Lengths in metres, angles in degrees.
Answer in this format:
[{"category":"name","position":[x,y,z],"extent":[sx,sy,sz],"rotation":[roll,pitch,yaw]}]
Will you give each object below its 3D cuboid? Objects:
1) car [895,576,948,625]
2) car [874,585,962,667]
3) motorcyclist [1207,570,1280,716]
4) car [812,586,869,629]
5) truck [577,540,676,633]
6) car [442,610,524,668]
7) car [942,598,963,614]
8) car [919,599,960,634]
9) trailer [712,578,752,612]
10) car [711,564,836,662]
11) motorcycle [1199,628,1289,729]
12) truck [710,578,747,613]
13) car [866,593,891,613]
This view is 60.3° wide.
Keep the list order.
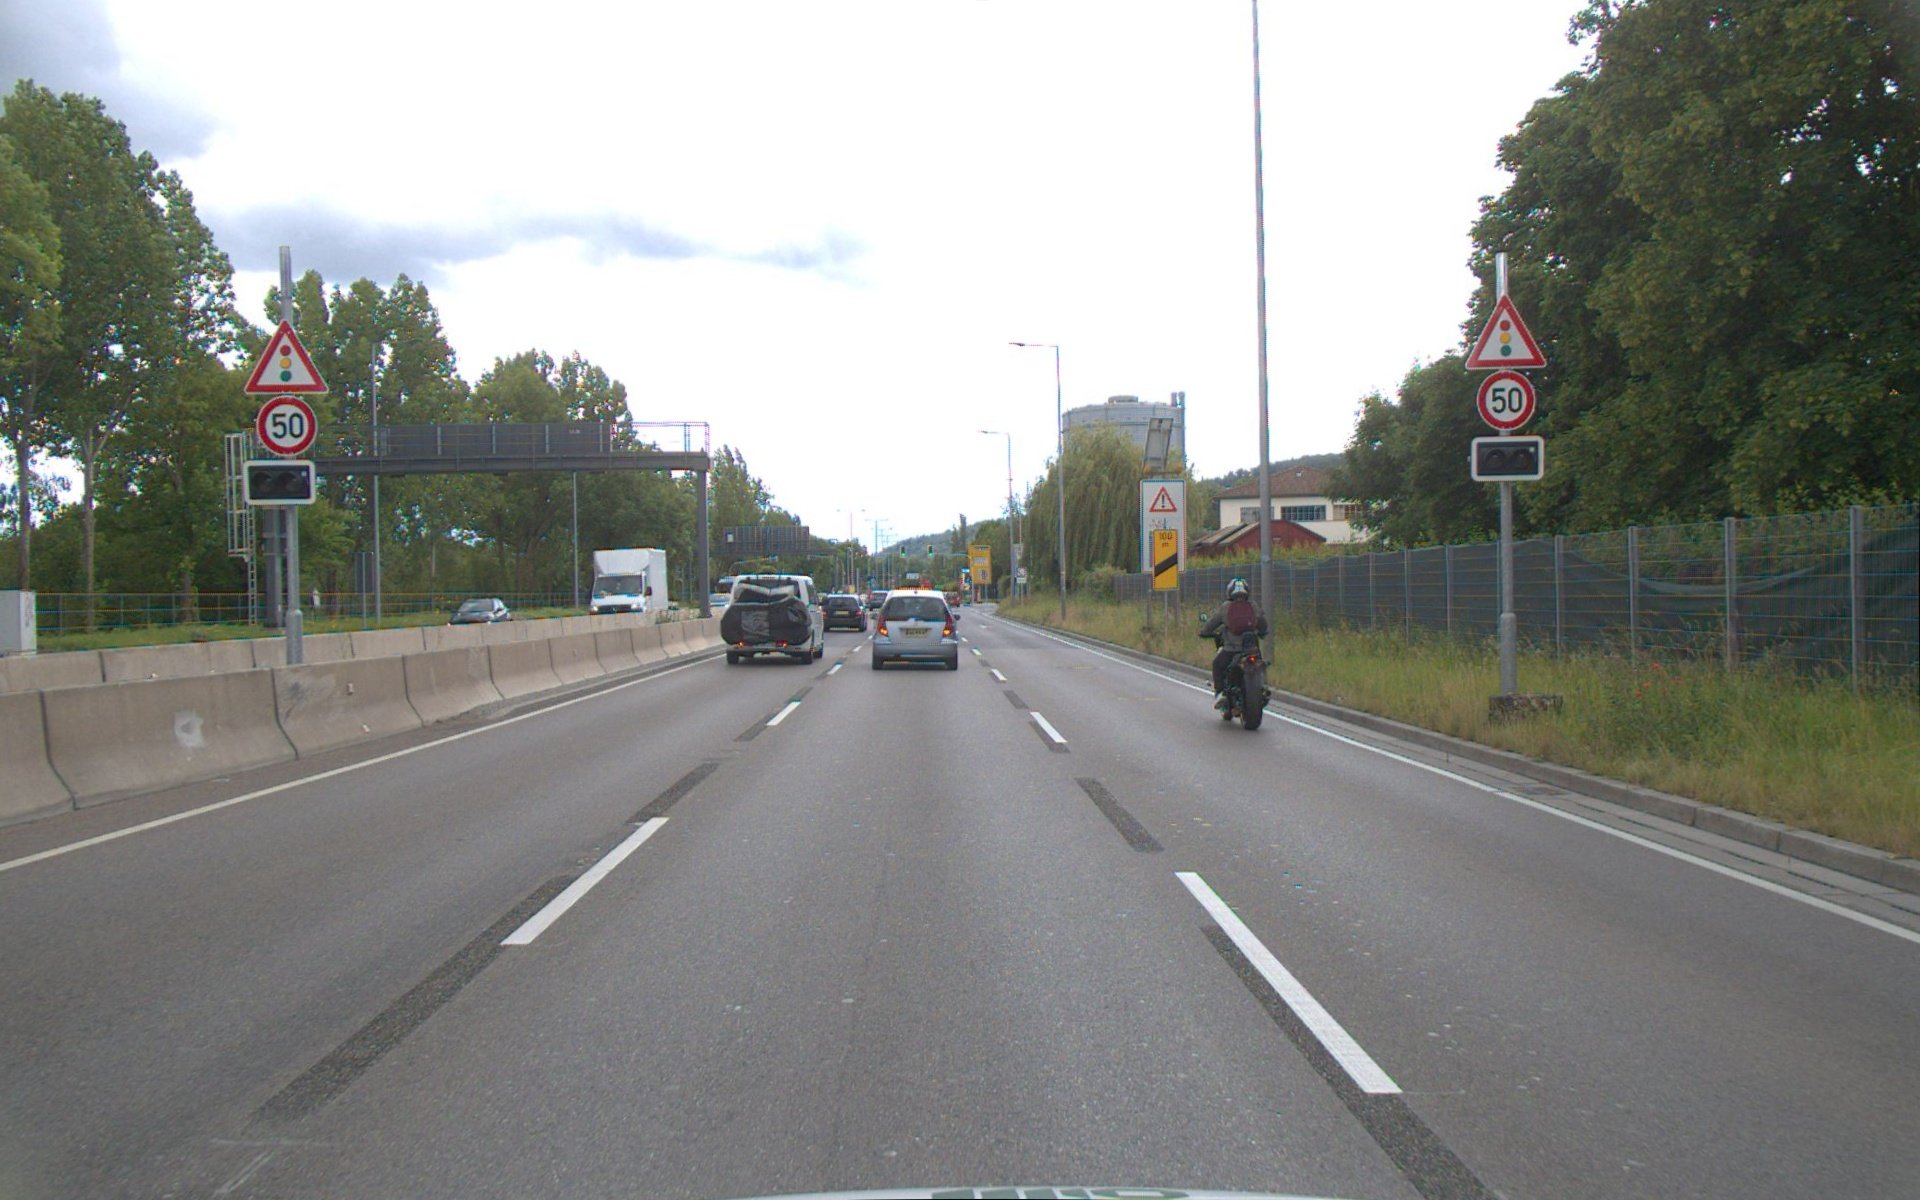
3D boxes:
[{"category":"car","position":[-1.403,0.007,61.595],"extent":[1.869,1.713,3.999],"rotation":[1,0,-1]},{"category":"car","position":[-0.877,0.490,34.272],"extent":[1.676,1.557,3.999],"rotation":[1,0,-2]},{"category":"motorcyclist","position":[3.278,0.487,19.174],"extent":[0.670,1.638,0.845],"rotation":[1,0,0]},{"category":"car","position":[-4.604,0.257,64.236],"extent":[1.953,1.579,3.999],"rotation":[1,0,-1]},{"category":"truck","position":[-12.201,-0.498,61.056],"extent":[2.355,3.161,7.199],"rotation":[1,0,-2]},{"category":"car","position":[-18.103,1.442,62.937],"extent":[1.953,2.049,3.999],"rotation":[1,0,-1]},{"category":"car","position":[-0.762,0.617,170.758],"extent":[1.953,1.579,3.998],"rotation":[1,0,-2]},{"category":"car","position":[-0.971,0.745,76.813],"extent":[1.803,1.489,3.999],"rotation":[1,0,-1]},{"category":"trailer","position":[-23.029,-0.490,167.699],"extent":[3.039,3.276,11.660],"rotation":[1,0,-3]},{"category":"car","position":[-3.970,0.249,36.095],"extent":[2.169,1.959,5.001],"rotation":[1,0,-1]},{"category":"motorcycle","position":[3.267,0.879,19.194],"extent":[0.692,1.058,2.027],"rotation":[1,0,0]},{"category":"truck","position":[-22.701,-0.449,162.246],"extent":[3.036,3.275,5.388],"rotation":[1,0,-3]},{"category":"car","position":[-6.682,0.236,135.880],"extent":[1.953,1.579,3.998],"rotation":[1,0,-2]}]
